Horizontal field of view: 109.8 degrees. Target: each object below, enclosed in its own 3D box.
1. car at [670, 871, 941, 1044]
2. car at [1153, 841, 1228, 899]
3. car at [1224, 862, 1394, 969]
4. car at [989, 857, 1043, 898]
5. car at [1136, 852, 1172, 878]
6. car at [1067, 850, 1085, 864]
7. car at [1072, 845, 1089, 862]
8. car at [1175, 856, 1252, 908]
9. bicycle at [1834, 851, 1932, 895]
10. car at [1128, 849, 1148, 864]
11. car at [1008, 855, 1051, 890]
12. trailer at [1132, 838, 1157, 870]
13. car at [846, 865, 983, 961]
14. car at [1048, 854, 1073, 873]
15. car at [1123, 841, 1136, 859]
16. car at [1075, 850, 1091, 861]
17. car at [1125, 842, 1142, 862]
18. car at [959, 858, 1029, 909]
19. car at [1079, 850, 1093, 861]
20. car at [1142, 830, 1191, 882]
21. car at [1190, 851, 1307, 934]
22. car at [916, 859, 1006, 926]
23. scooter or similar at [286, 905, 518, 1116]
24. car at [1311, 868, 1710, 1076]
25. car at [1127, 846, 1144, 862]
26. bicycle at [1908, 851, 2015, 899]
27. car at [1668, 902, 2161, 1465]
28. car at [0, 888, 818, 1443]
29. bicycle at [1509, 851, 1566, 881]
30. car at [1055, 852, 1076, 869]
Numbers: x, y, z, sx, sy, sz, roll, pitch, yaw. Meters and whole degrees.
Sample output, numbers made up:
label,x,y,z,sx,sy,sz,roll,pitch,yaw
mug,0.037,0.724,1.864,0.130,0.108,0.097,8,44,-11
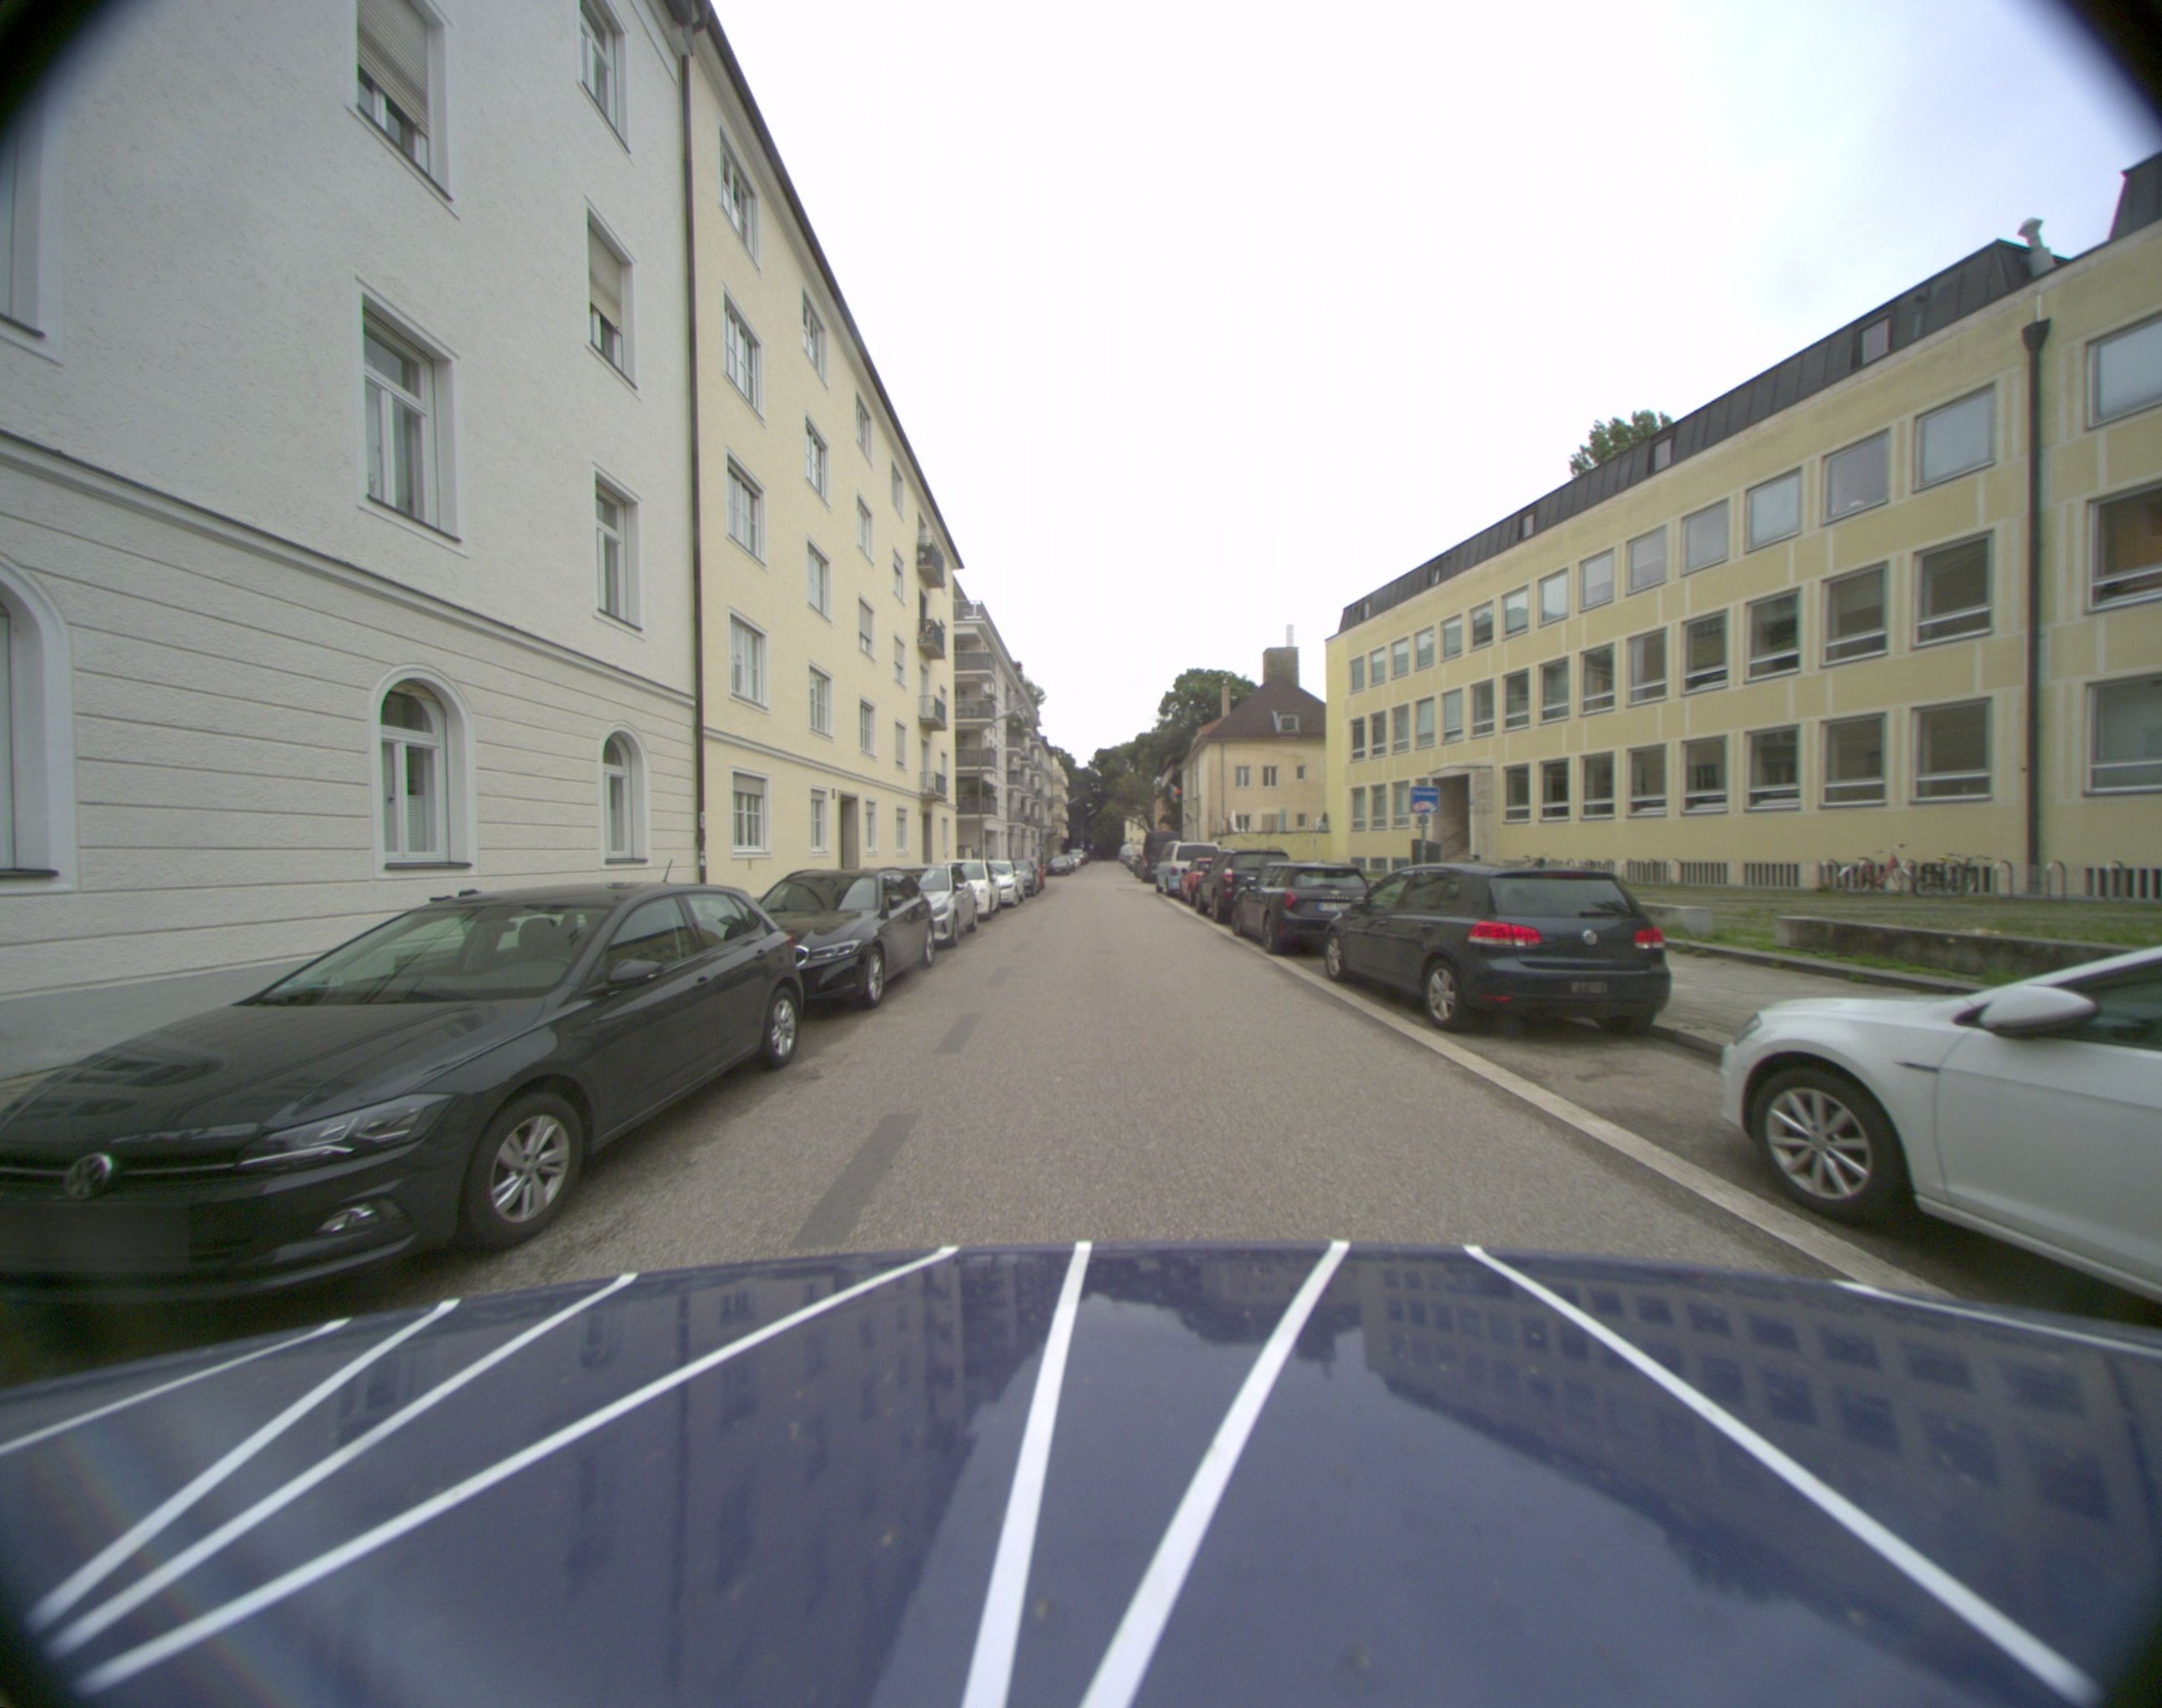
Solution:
label,x,y,z,sx,sy,sz,roll,pitch,yaw
car,-2.941,1.008,9.213,1.683,1.419,4.390,-1,1,0
car,3.925,0.511,28.183,1.933,1.967,5.021,0,1,-1
car,3.623,0.899,12.793,1.684,1.445,3.869,1,0,0
car,-2.469,0.860,29.866,1.683,1.402,4.421,-1,1,0
car,4.428,0.642,46.468,1.706,1.485,3.488,-1,1,-3
car,-0.532,0.293,80.008,1.766,1.449,3.747,-1,1,1
car,-0.088,-0.095,95.223,1.871,2.002,4.268,-1,1,3
car,4.013,0.808,23.538,1.748,1.379,3.918,-2,0,1
bicycle,19.327,0.441,18.316,1.953,1.008,0.625,-1,1,-9
car,5.931,0.227,79.463,1.818,1.444,3.927,-1,1,1
car,-2.340,0.816,35.271,1.683,1.489,3.823,-1,1,0
trailer,5.315,-0.018,62.981,1.817,2.521,3.390,3,1,6
car,-2.957,0.980,14.374,1.683,1.419,4.166,-1,1,0
car,-1.579,0.718,58.696,1.784,1.385,4.245,-1,1,-2
car,7.102,-0.614,112.188,1.880,2.539,4.370,-1,1,3
car,0.294,0.161,100.854,1.871,1.455,4.268,-1,1,3
car,6.639,-0.257,95.876,2.104,2.418,4.550,-1,1,4
car,-2.701,0.883,24.454,1.683,1.402,4.442,-1,1,0
car,0.757,0.225,110.994,1.871,1.455,4.268,-1,1,3
car,4.544,0.094,41.267,2.302,2.630,5.654,0,1,3
car,3.791,0.791,18.005,1.748,1.656,4.448,2,1,0
car,-3.009,0.903,19.818,1.683,1.473,4.166,-1,1,0
scooter or similar,-4.524,0.985,5.168,0.486,1.157,1.172,-2,1,-1
car,3.818,0.928,7.672,1.661,1.445,3.973,1,0,-2
car,6.113,-0.016,85.426,1.817,1.724,3.649,-1,1,2
bicycle,19.574,0.446,16.901,1.953,1.008,0.625,-1,1,-9
car,3.844,0.984,1.786,1.661,1.445,4.072,1,0,-2
car,-3.072,1.030,4.303,1.683,1.419,4.086,-1,1,1
bicycle,16.741,0.431,27.866,1.954,1.008,0.580,-2,1,-16
car,-1.345,0.536,68.376,1.766,1.449,3.747,-1,1,1
